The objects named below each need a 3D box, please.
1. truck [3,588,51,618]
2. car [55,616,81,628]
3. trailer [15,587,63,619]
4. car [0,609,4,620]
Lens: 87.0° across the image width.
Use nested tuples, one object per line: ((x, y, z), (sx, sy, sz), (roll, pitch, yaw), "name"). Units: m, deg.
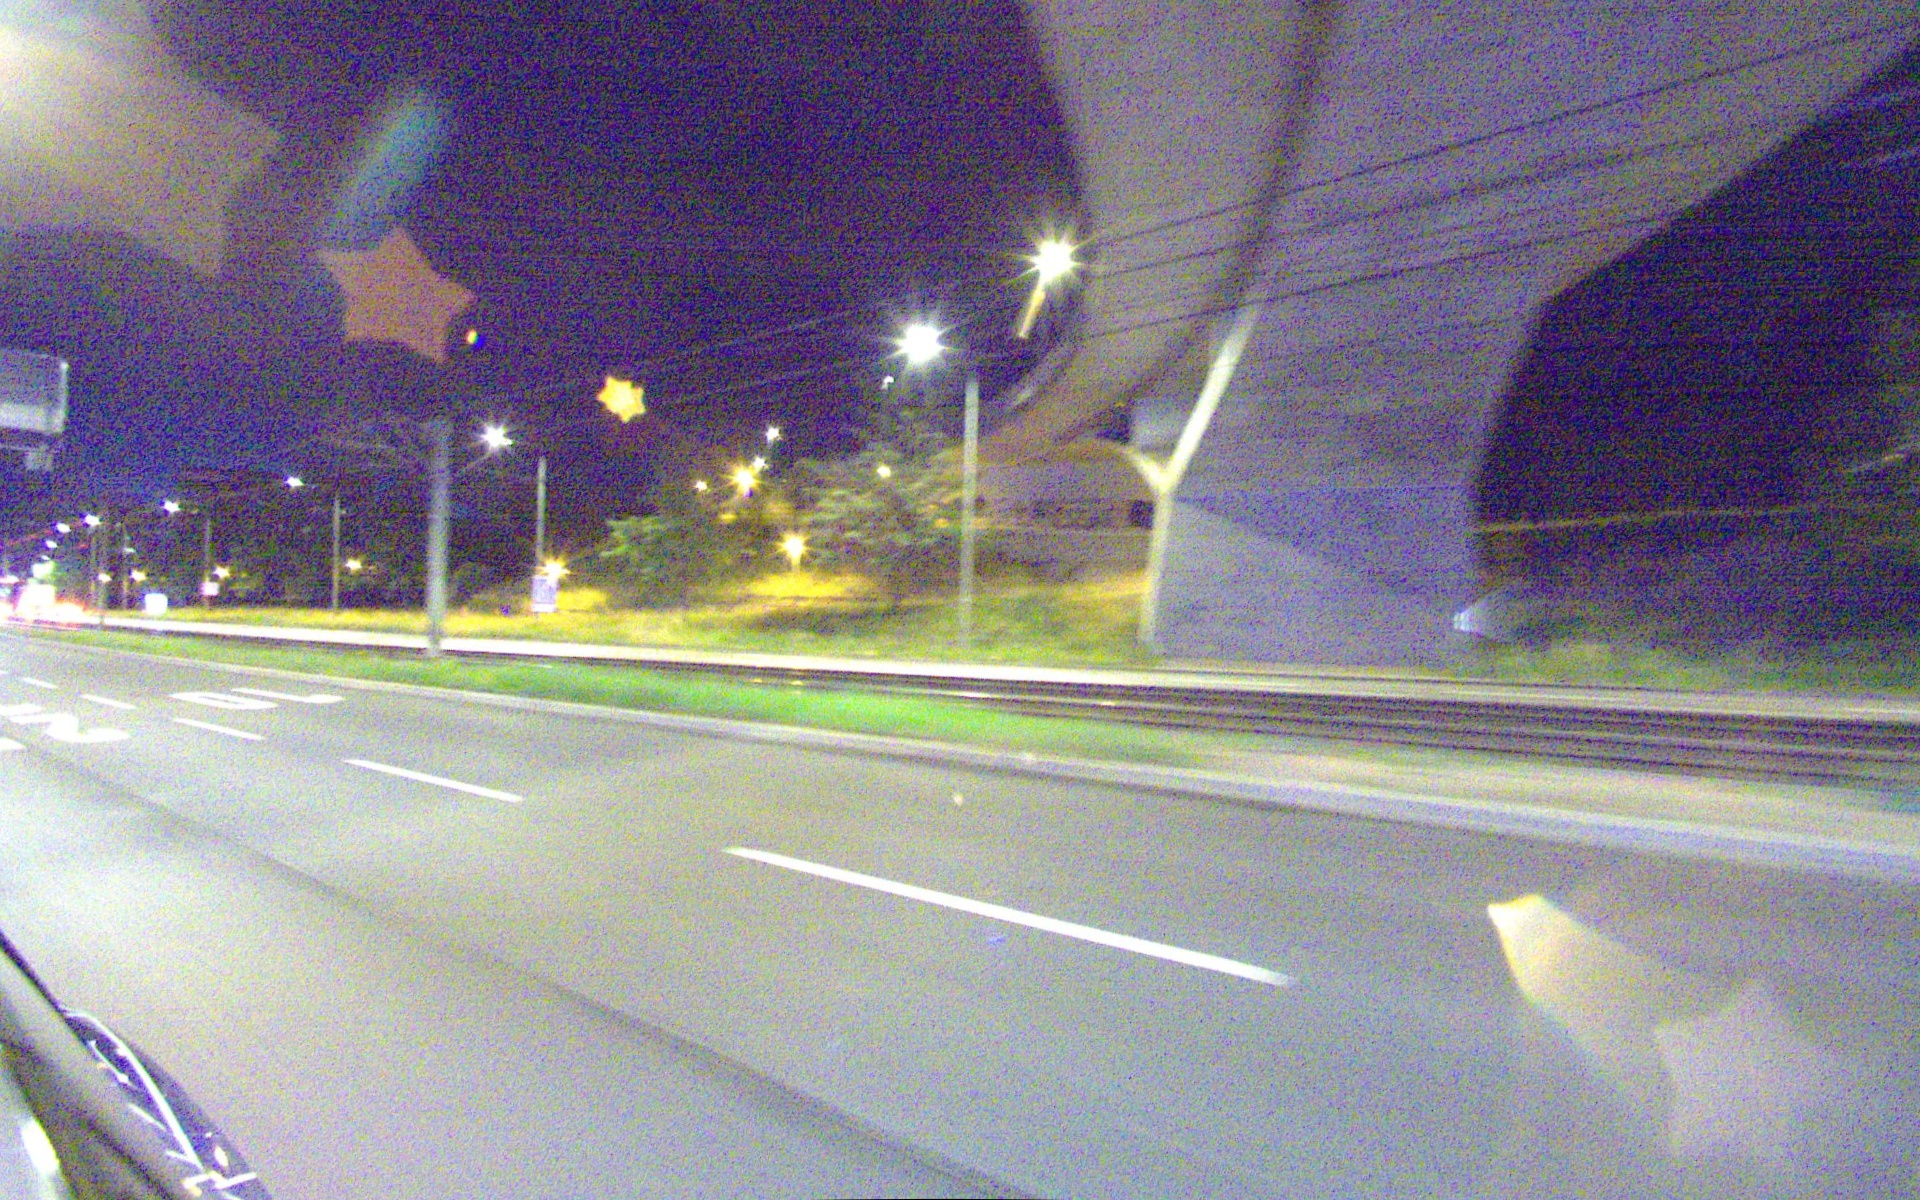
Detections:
((-127.649, 0.330, 138.422), (10.415, 3.984, 3.643), (0, 1, 41), "truck")
((-118.844, 2.977, 134.850), (4.201, 1.492, 1.966), (0, -3, 40), "car")
((-120.491, 0.369, 132.328), (8.390, 4.019, 3.658), (0, 1, 40), "trailer")
((-142.927, 2.129, 149.682), (4.081, 1.510, 1.786), (0, 0, 39), "car")
